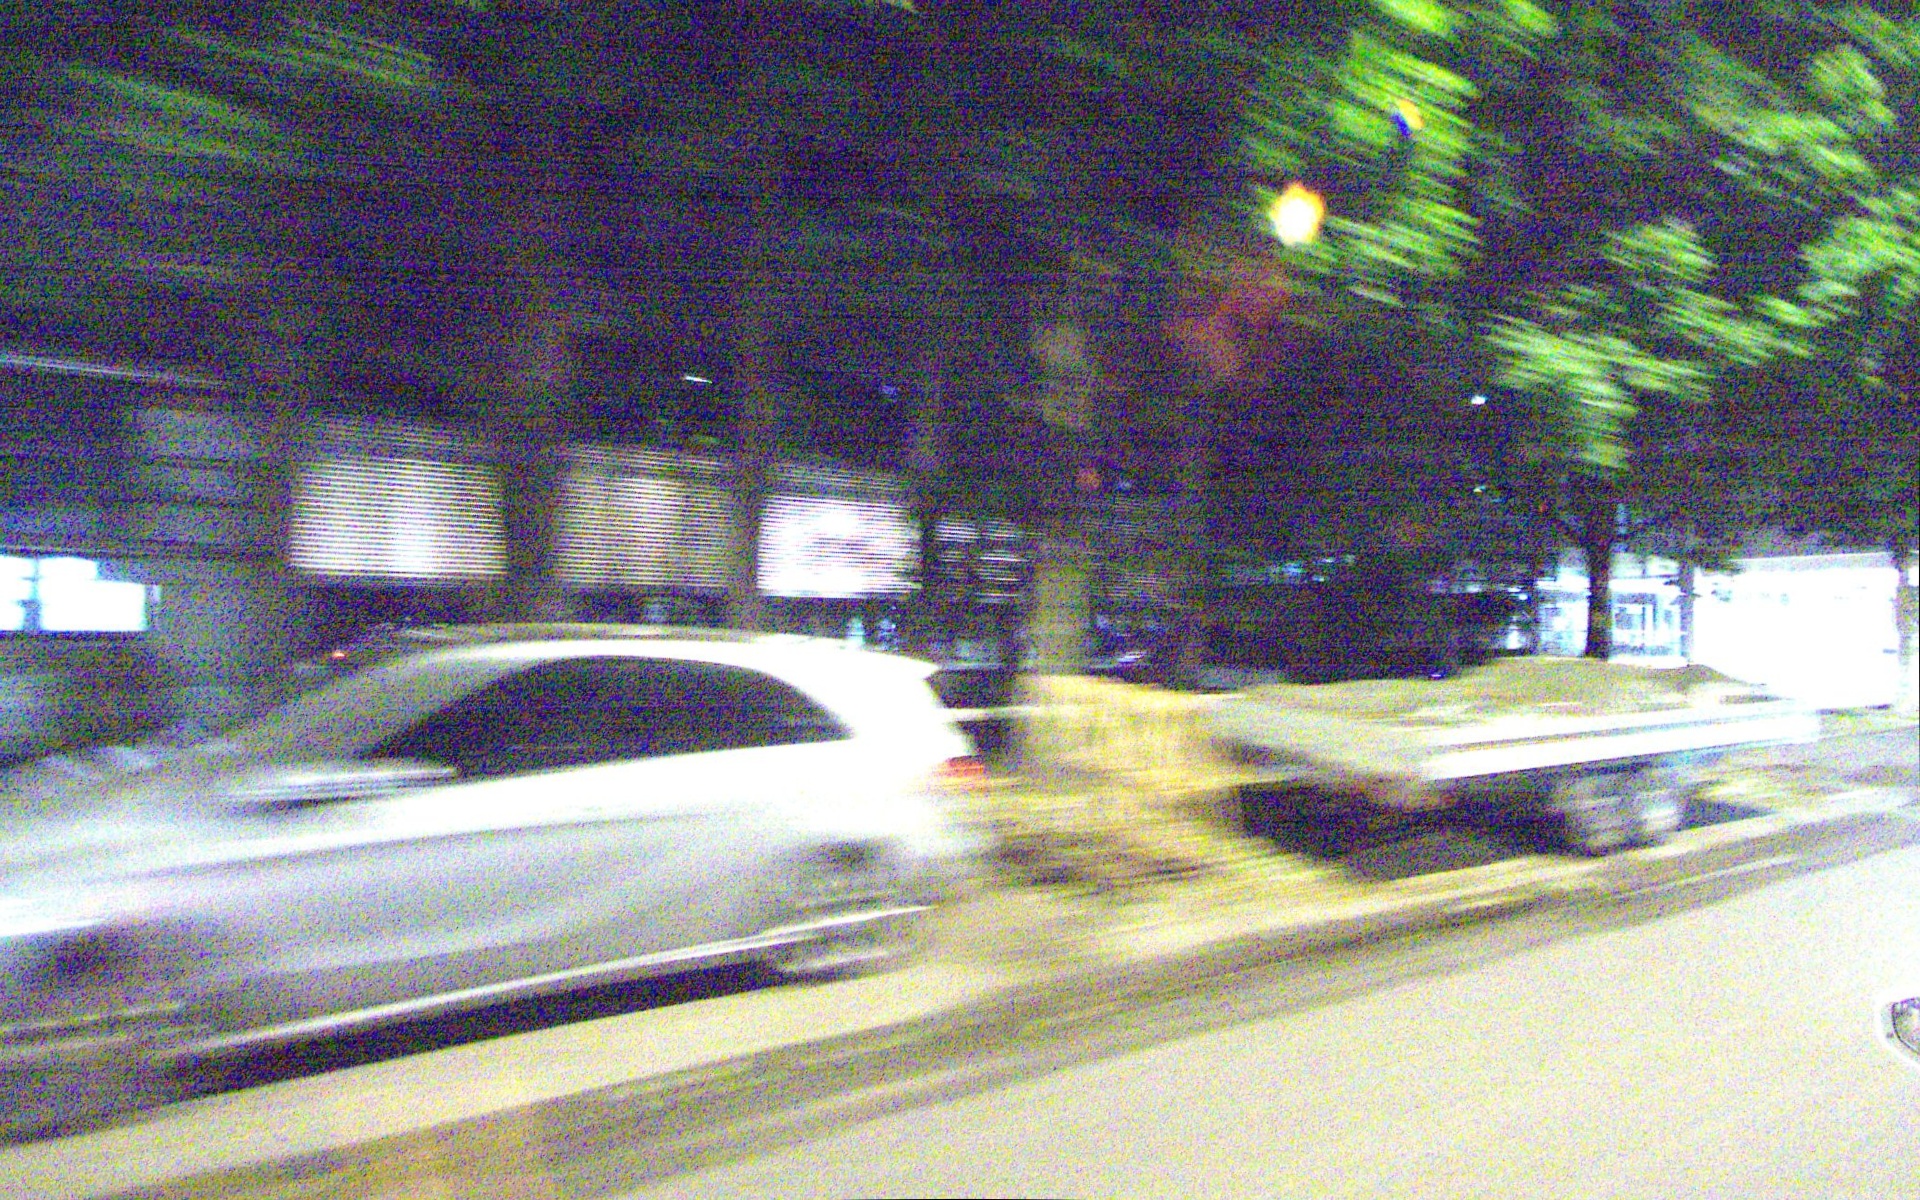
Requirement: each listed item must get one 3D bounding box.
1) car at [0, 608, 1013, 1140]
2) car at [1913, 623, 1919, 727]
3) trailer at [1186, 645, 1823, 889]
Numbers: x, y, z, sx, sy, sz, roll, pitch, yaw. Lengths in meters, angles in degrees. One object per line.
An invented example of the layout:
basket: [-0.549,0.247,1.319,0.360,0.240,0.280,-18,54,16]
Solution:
car: [-1.968,0.861,4.535,4.157,1.522,1.707,1,1,-31]
car: [17.124,1.245,15.889,4.023,1.620,1.814,1,2,-29]
trailer: [4.645,1.121,8.349,5.369,1.352,2.101,2,1,-29]
